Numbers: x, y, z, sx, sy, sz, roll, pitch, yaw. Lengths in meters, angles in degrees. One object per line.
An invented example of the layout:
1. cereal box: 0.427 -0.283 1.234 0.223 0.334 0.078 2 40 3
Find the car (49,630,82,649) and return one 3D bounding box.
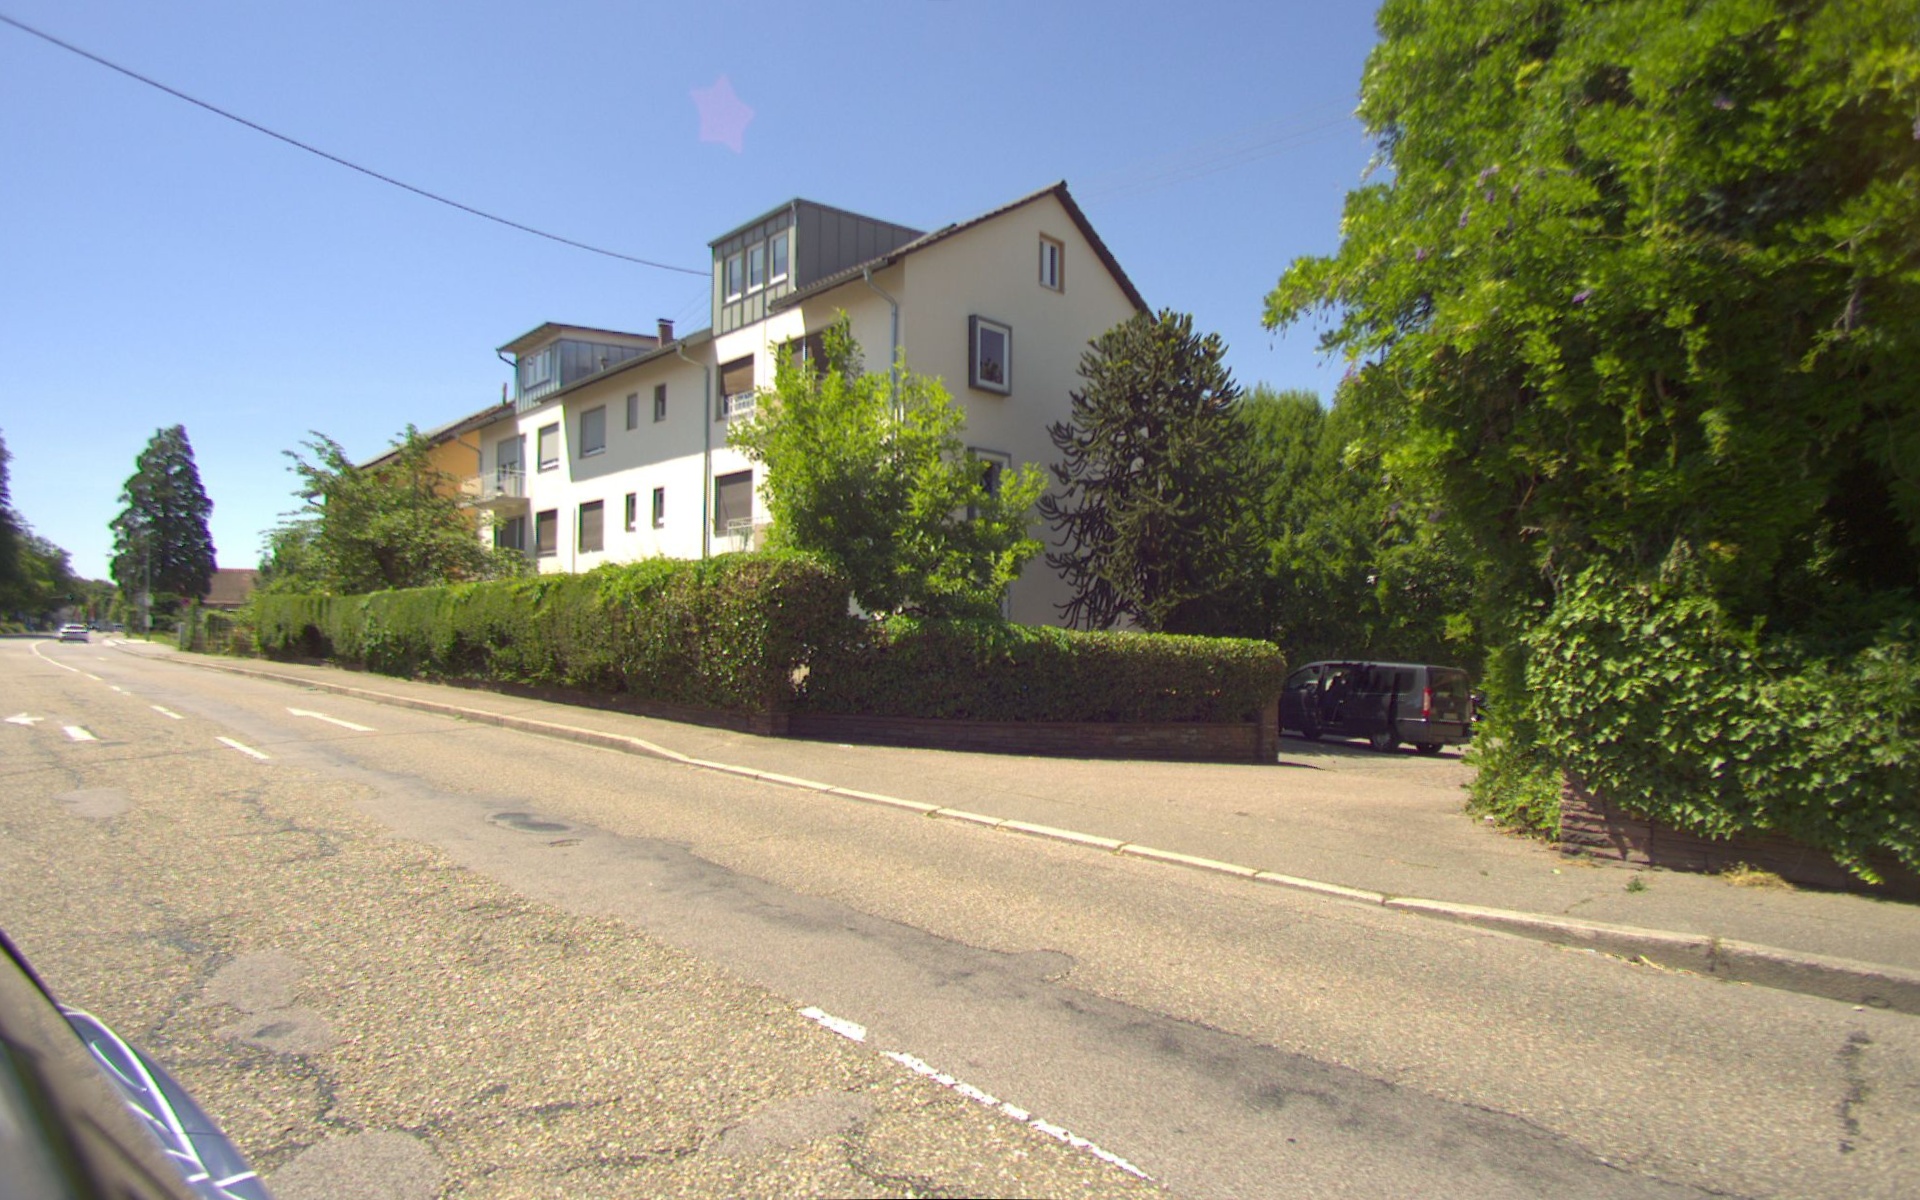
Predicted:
1. car: -69.722 3.050 78.872 1.661 1.383 4.209 4 -4 -44

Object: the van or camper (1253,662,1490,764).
1. van or camper: 9.067 2.445 22.601 1.894 1.896 4.524 6 -5 -40

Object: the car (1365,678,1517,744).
1. car: 15.801 3.595 33.361 4.186 1.852 1.888 -1 -3 41

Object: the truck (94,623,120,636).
1. truck: -151.602 5.315 179.915 2.580 2.258 6.274 1 -2 -33
